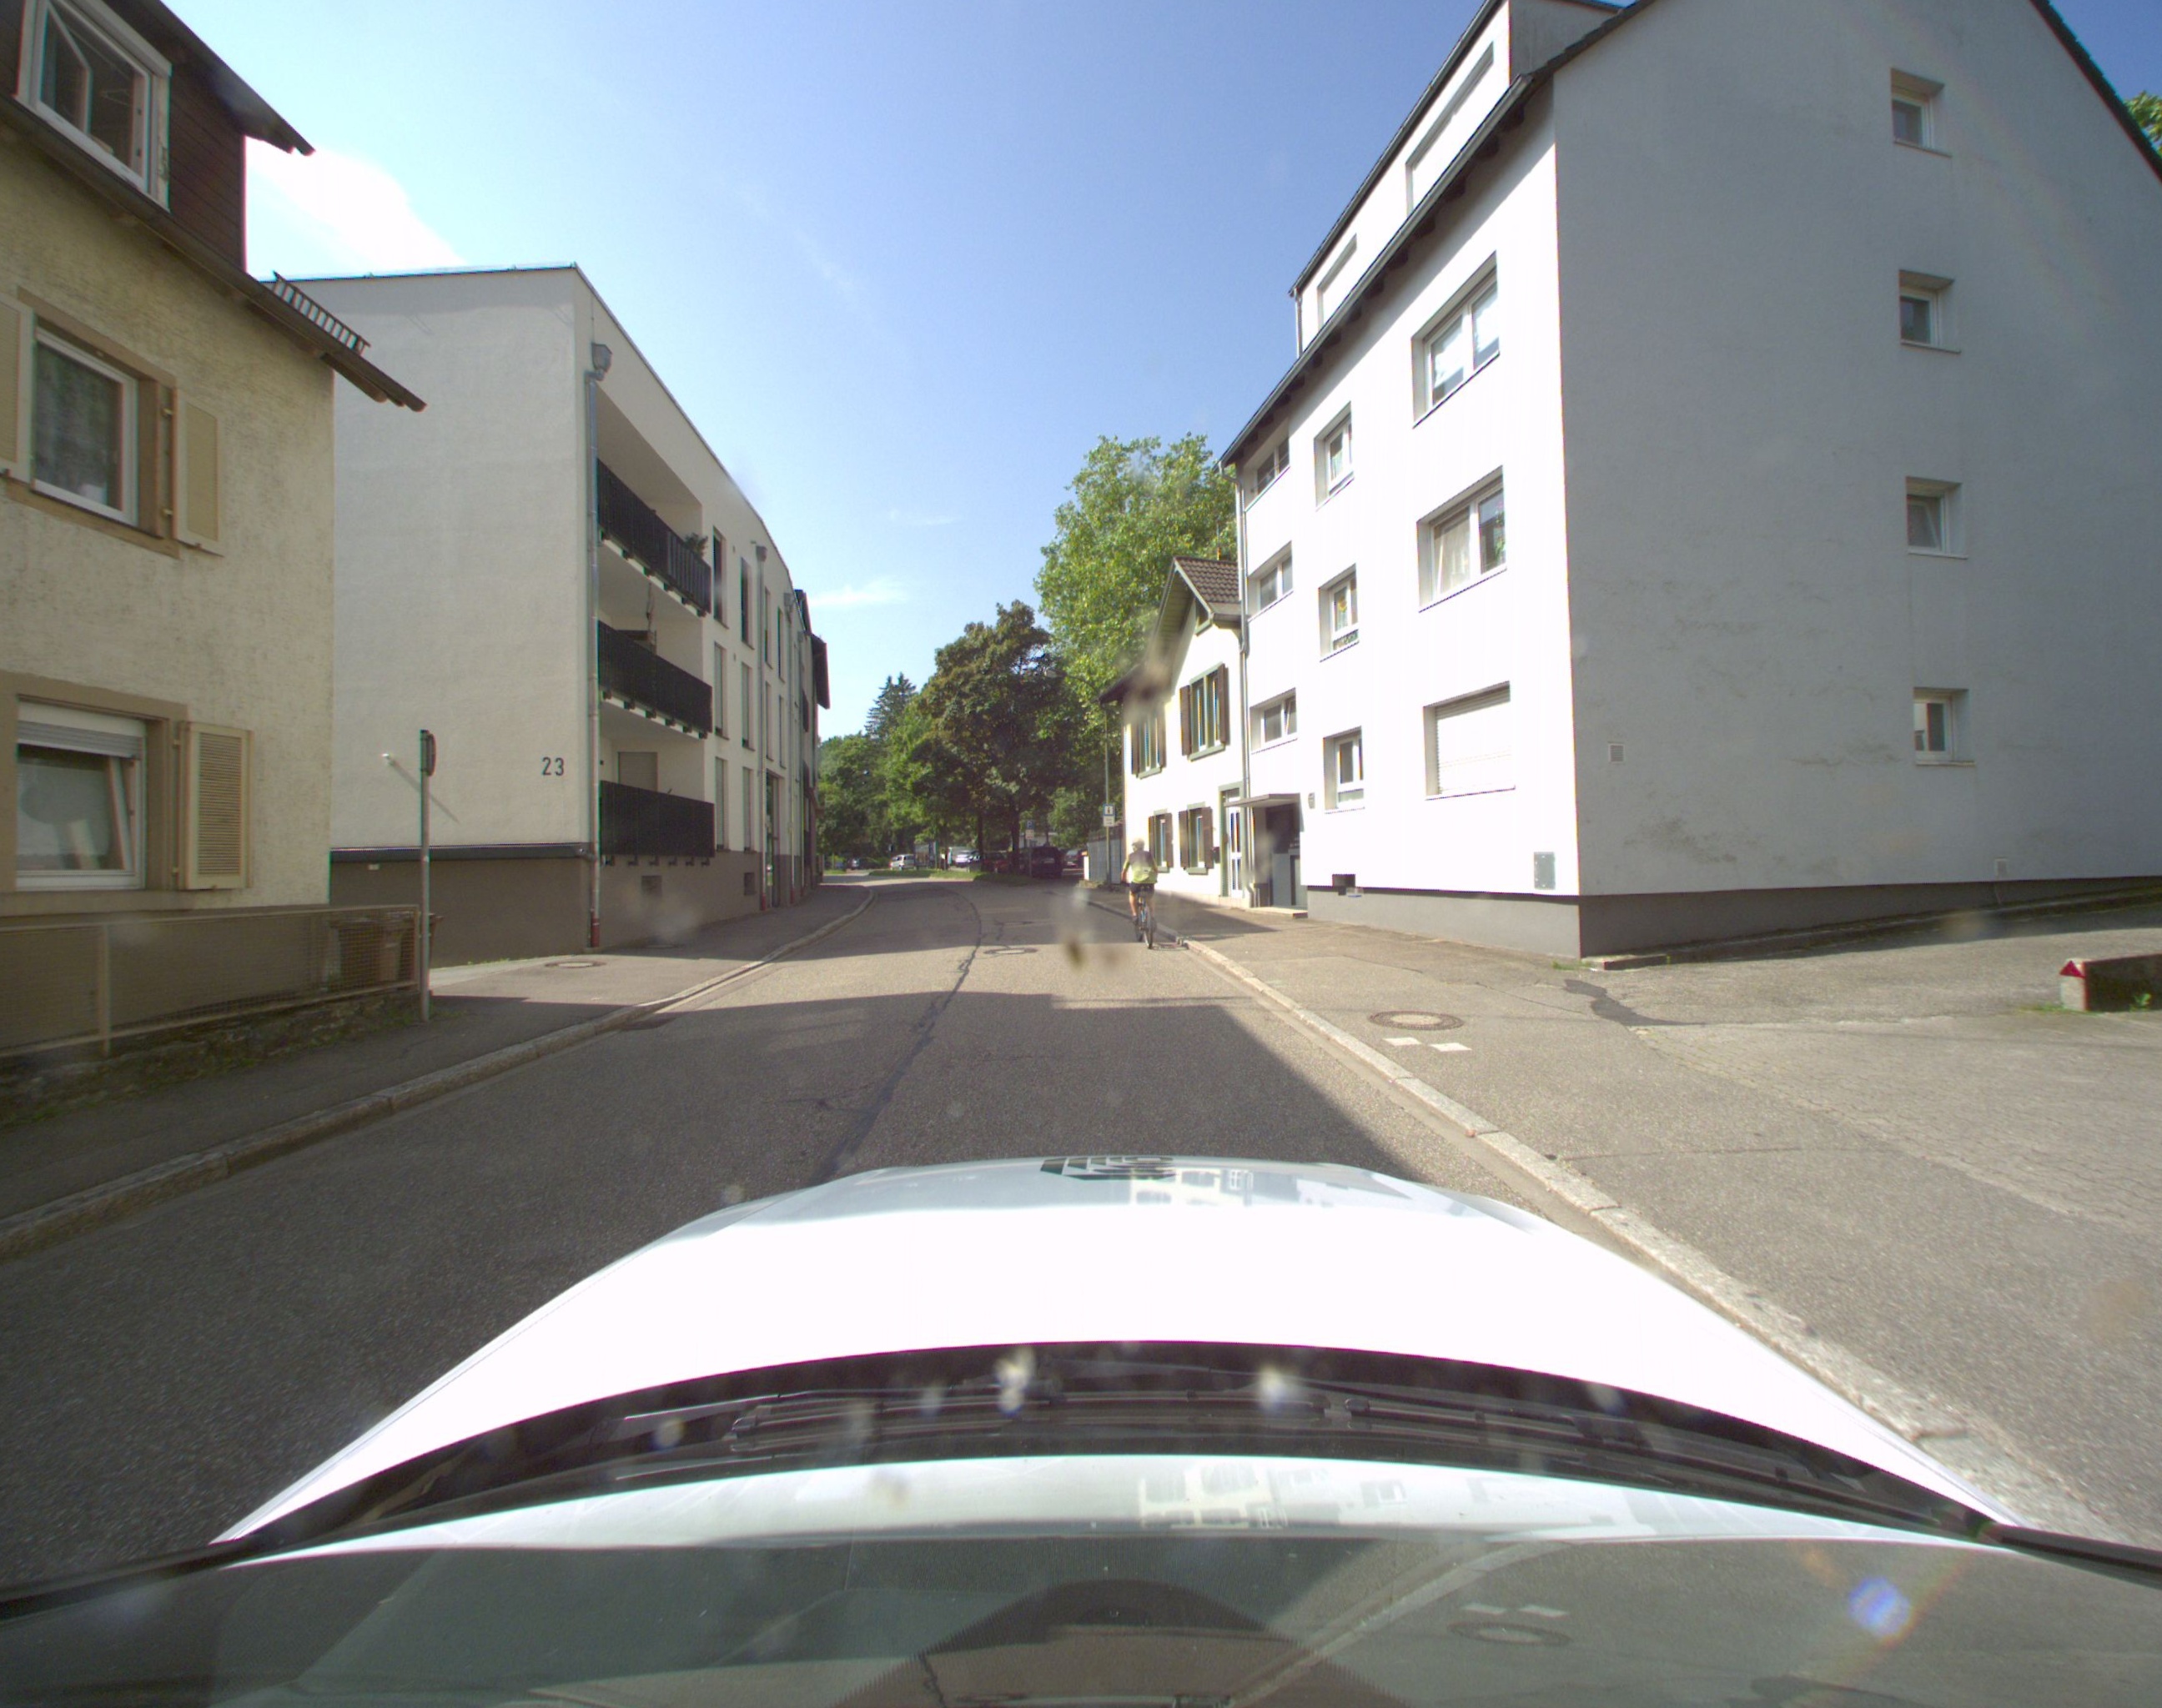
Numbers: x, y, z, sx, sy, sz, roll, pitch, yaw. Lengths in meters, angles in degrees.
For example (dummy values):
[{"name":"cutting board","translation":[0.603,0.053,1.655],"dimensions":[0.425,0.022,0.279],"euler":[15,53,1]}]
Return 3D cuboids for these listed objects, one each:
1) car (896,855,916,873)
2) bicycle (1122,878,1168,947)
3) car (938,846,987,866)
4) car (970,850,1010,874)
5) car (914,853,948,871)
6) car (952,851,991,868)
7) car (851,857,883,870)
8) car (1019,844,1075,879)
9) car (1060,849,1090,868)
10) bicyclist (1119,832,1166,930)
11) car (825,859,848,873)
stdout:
[{"name":"car","translation":[-15.899,0.874,74.021],"dimensions":[1.745,1.552,3.738],"euler":[-1,0,-12]},{"name":"bicycle","translation":[1.031,0.930,13.386],"dimensions":[0.696,1.035,1.472],"euler":[0,0,2]},{"name":"car","translation":[-11.635,0.226,80.228],"dimensions":[1.974,1.855,4.730],"euler":[-1,0,38]},{"name":"car","translation":[-6.278,0.519,55.791],"dimensions":[1.715,1.542,3.971],"euler":[-2,1,-22]},{"name":"car","translation":[-12.783,0.702,69.208],"dimensions":[1.684,1.468,3.374],"euler":[-1,0,-33]},{"name":"car","translation":[-10.225,0.493,76.372],"dimensions":[1.793,1.552,4.022],"euler":[-1,0,24]},{"name":"car","translation":[-27.403,1.241,104.230],"dimensions":[3.384,1.529,1.968],"euler":[-1,0,24]},{"name":"car","translation":[-1.922,0.376,44.669],"dimensions":[1.830,1.791,3.971],"euler":[-2,1,-22]},{"name":"car","translation":[-0.483,0.345,58.260],"dimensions":[1.582,1.257,3.845],"euler":[-3,0,-9]},{"name":"bicyclist","translation":[0.989,0.439,13.289],"dimensions":[0.683,1.531,0.716],"euler":[-2,-1,1]},{"name":"car","translation":[-27.900,1.408,92.909],"dimensions":[1.647,1.529,3.449],"euler":[-1,0,-34]}]
